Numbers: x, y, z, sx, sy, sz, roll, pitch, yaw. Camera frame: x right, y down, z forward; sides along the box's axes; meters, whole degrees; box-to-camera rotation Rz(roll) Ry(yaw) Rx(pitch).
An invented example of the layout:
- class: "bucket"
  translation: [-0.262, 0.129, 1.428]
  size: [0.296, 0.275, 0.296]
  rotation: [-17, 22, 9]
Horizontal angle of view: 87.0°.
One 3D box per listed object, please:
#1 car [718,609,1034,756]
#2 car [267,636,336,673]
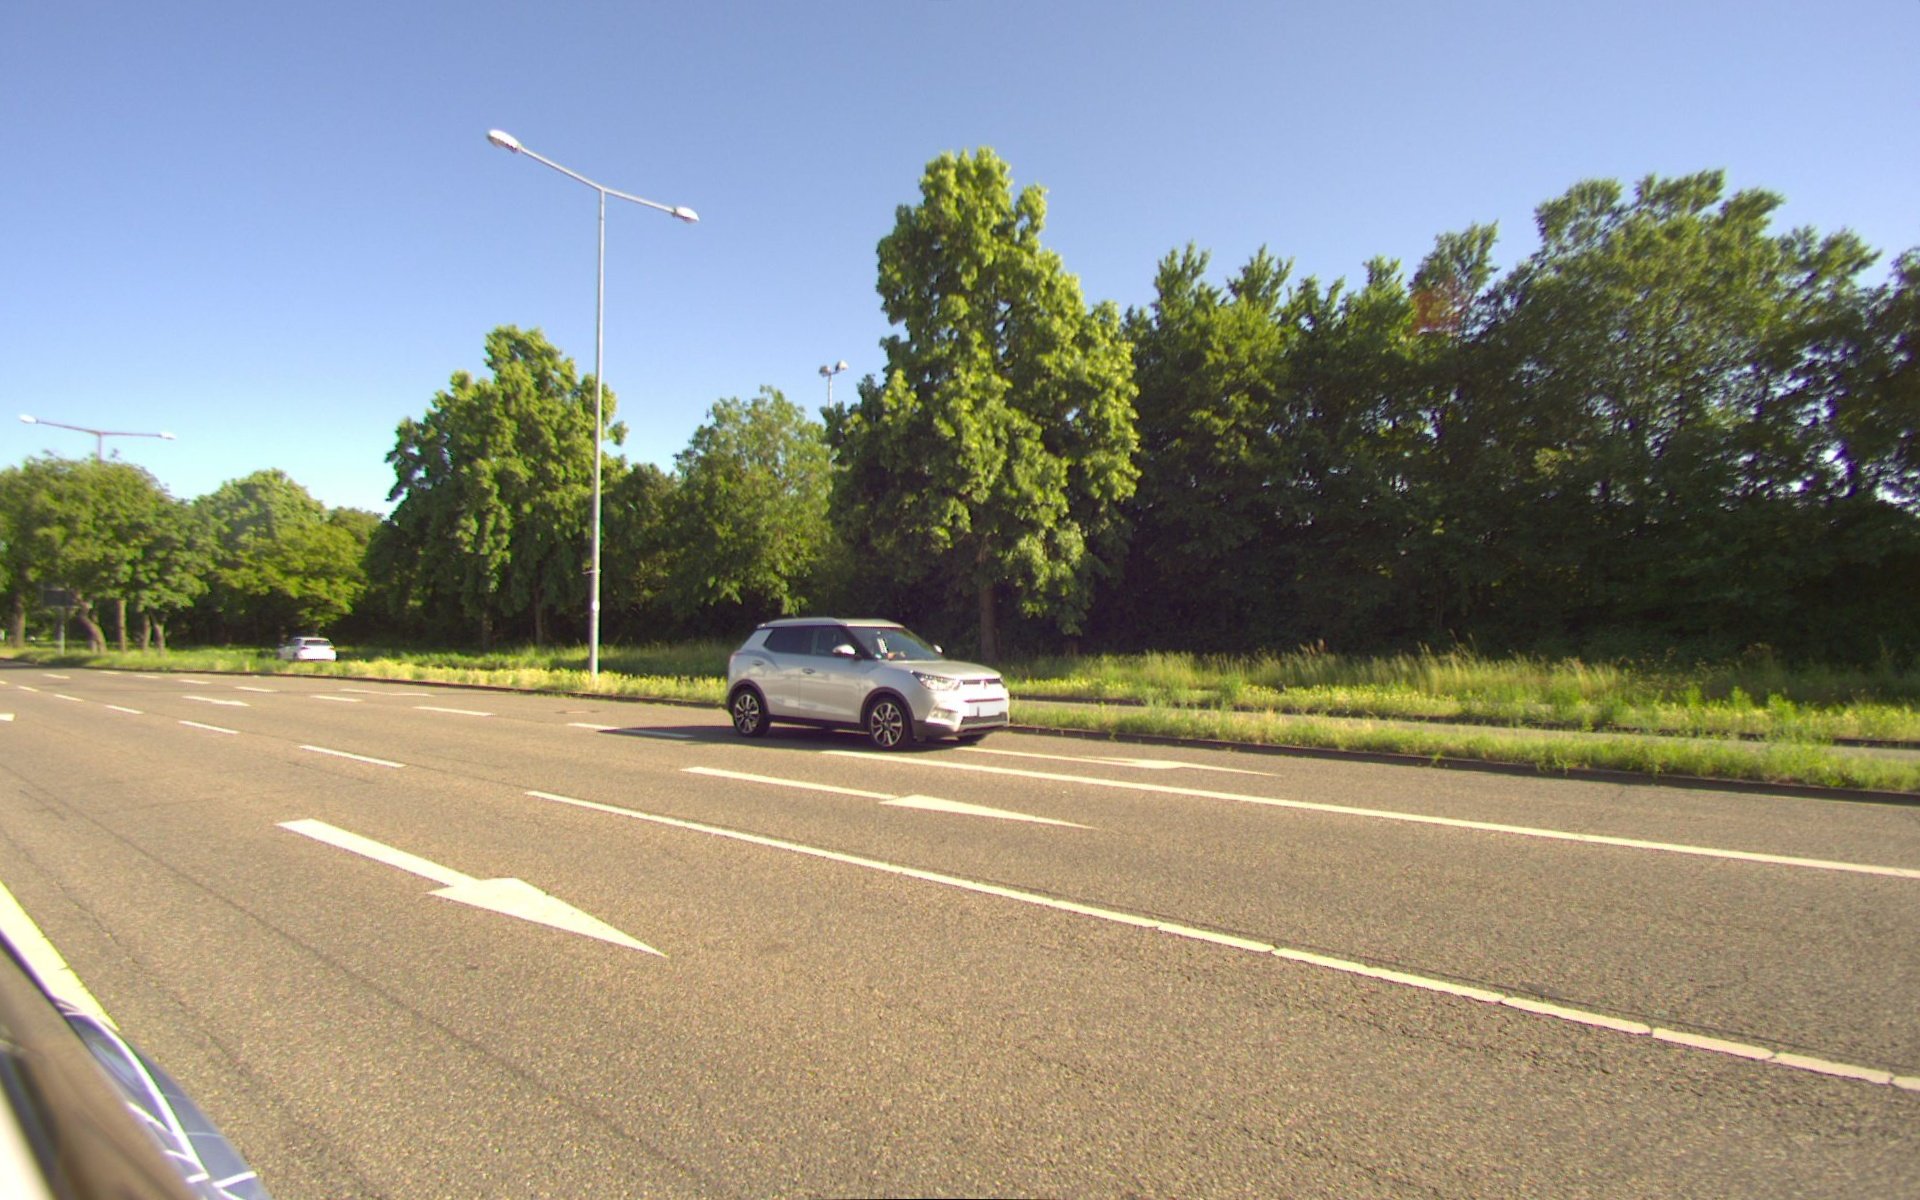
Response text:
- class: "car"
  translation: [-1.199, 0.988, 13.204]
  size: [4.103, 1.622, 1.766]
  rotation: [-2, -3, 41]
- class: "car"
  translation: [-34.463, 2.818, 52.922]
  size: [4.405, 1.716, 1.892]
  rotation: [-1, -1, 41]
